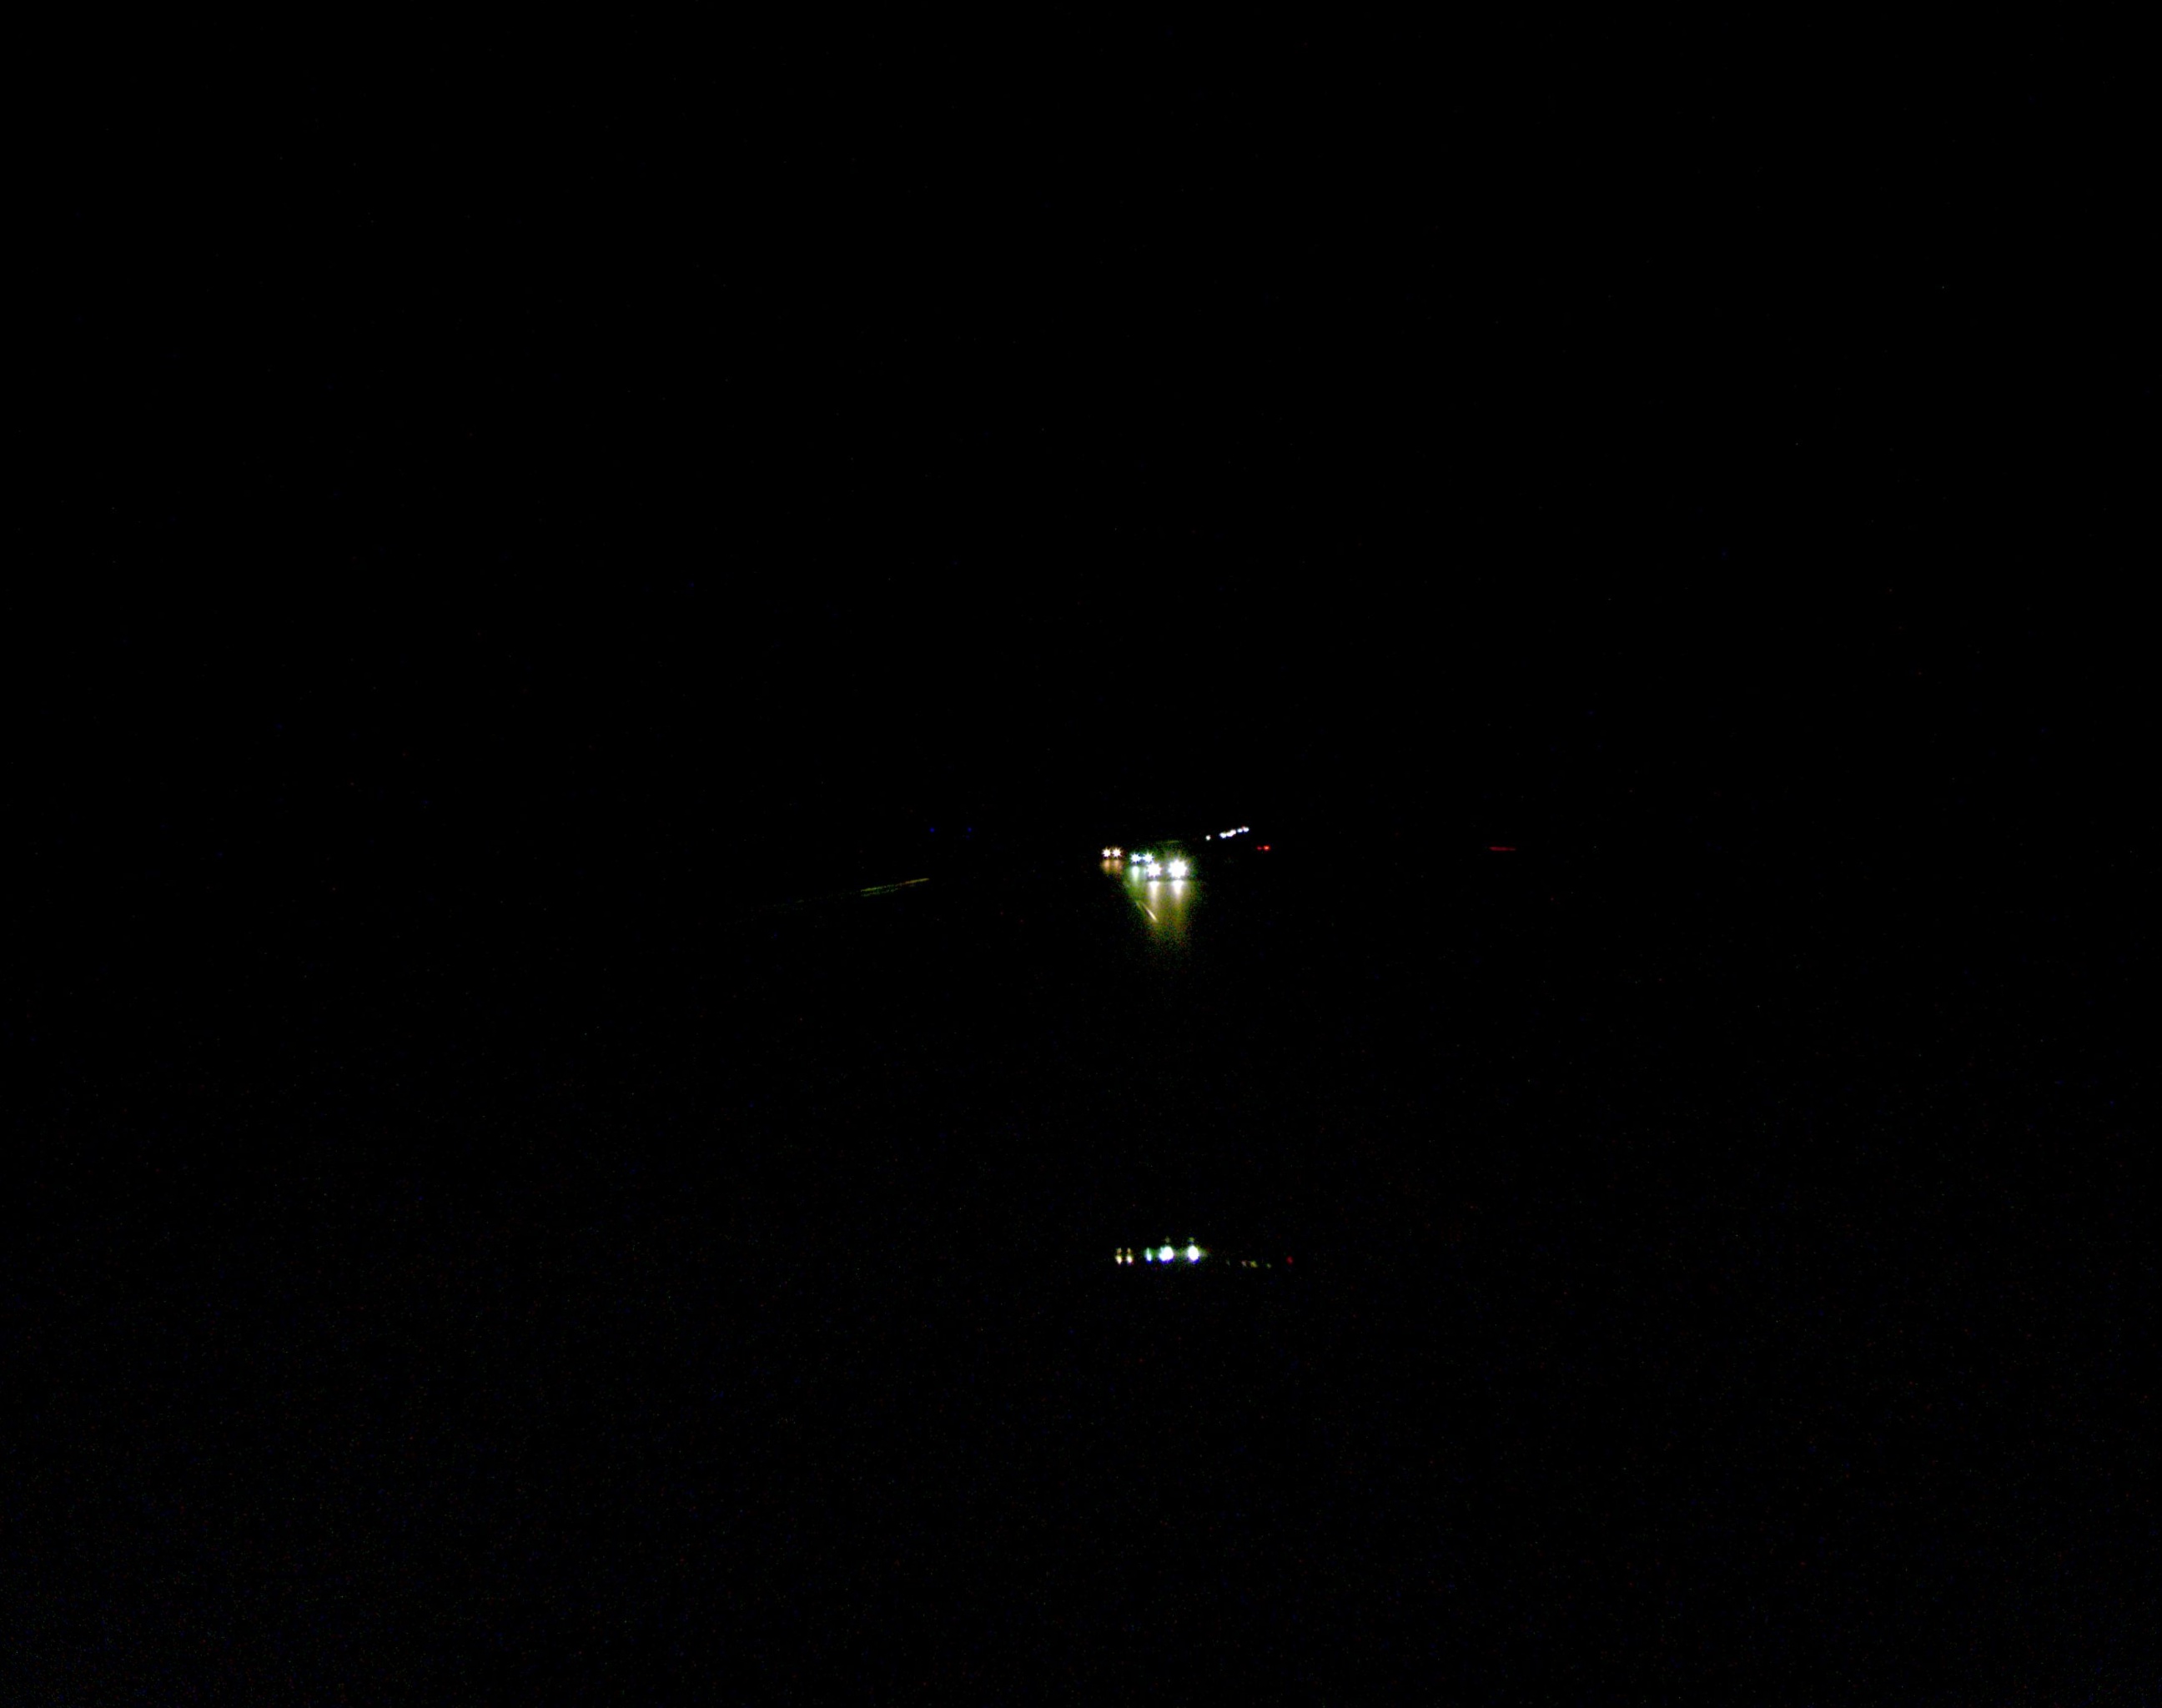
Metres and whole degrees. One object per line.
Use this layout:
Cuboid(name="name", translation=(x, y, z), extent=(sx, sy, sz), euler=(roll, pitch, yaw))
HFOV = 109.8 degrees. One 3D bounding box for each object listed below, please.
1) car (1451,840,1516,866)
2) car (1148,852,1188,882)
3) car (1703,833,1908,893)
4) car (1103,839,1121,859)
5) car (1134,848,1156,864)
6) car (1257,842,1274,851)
Cuboid(name="car", translation=(24.817, -0.092, 47.028), extent=(1.998, 1.499, 4.000), euler=(-1, 0, 1))
Cuboid(name="car", translation=(4.758, 0.674, 41.986), extent=(1.833, 1.404, 3.999), euler=(-2, 1, 2))
Cuboid(name="car", translation=(20.169, 0.218, 21.434), extent=(1.998, 1.499, 4.000), euler=(-1, 0, 1))
Cuboid(name="car", translation=(4.816, -0.774, 117.016), extent=(2.533, 2.889, 6.227), euler=(-2, 1, 2))
Cuboid(name="car", translation=(6.756, 0.187, 80.512), extent=(1.998, 1.456, 3.999), euler=(-2, 1, 2))
Cuboid(name="car", translation=(32.261, -1.239, 132.839), extent=(1.998, 1.499, 4.315), euler=(-1, 1, 1))
